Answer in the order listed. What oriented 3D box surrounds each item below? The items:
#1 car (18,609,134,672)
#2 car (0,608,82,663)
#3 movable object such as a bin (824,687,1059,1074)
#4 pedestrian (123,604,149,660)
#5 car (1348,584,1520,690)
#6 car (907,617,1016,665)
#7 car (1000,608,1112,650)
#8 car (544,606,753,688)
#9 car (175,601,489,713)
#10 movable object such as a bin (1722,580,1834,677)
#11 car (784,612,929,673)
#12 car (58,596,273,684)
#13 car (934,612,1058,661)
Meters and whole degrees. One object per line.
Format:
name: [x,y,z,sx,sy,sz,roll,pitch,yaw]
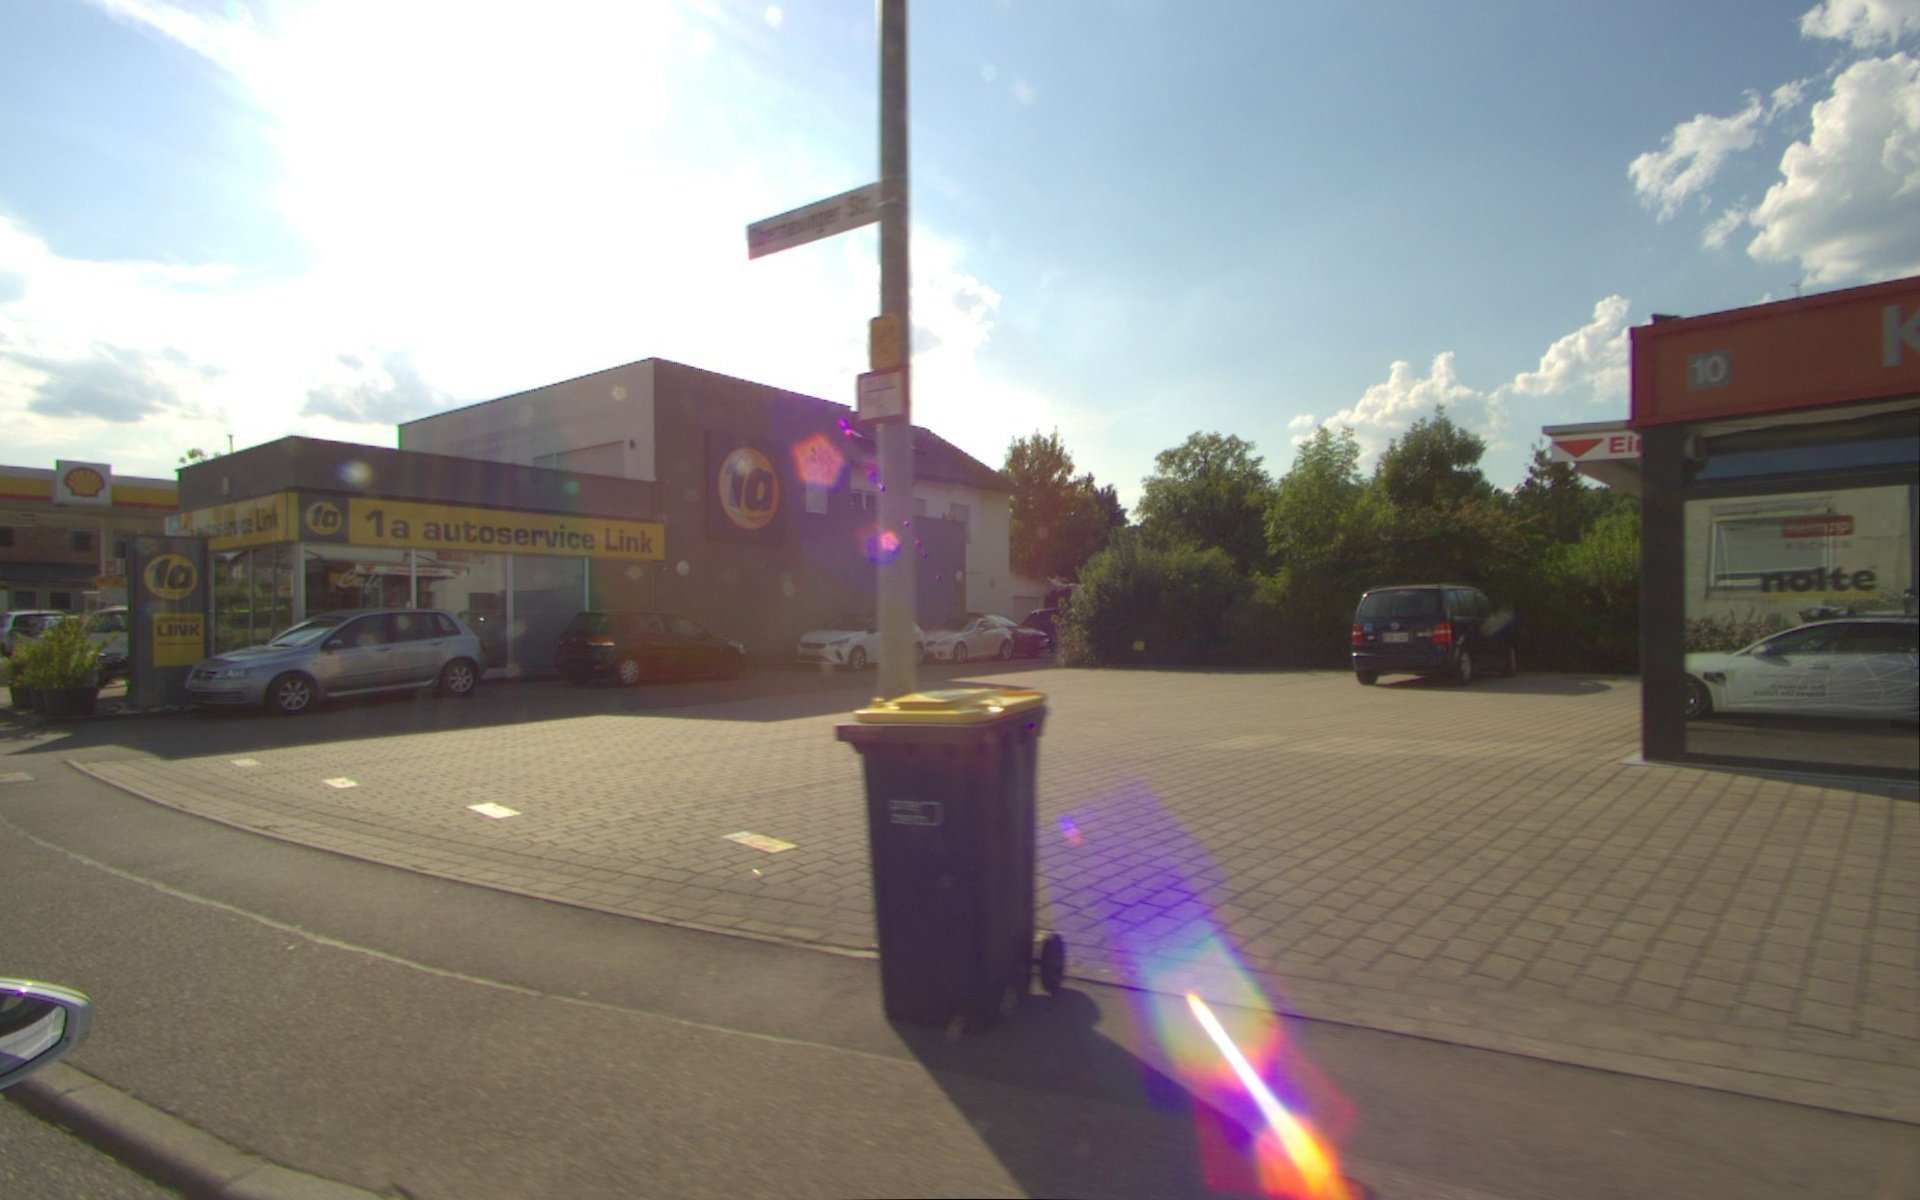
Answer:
car: [-24.497,1.063,27.706,3.947,1.598,1.666,0,0,37]
car: [-28.677,1.044,30.881,3.947,1.598,1.666,0,0,37]
movable object such as a bin: [-0.052,0.870,3.374,0.565,1.089,0.565,0,1,33]
pedestrian: [-25.213,0.981,30.644,0.527,1.691,0.498,0,0,37]
car: [8.180,0.602,17.158,1.623,1.615,3.612,-3,-2,43]
car: [0.105,1.166,29.517,1.379,1.279,3.746,2,0,34]
car: [3.648,1.062,38.113,3.925,1.418,1.658,1,0,34]
car: [-6.254,0.893,20.502,1.692,1.487,3.895,2,0,34]
car: [-9.759,0.808,15.891,1.505,1.551,3.979,0,-1,32]
movable object such as a bin: [15.272,0.512,18.652,2.991,1.670,1.166,0,-1,-42]
car: [-2.621,1.053,26.157,1.692,1.427,3.895,2,0,34]
car: [-17.172,0.788,21.930,1.645,1.697,4.076,-1,1,-5]
car: [1.154,1.151,32.740,3.759,1.418,1.658,1,0,34]
